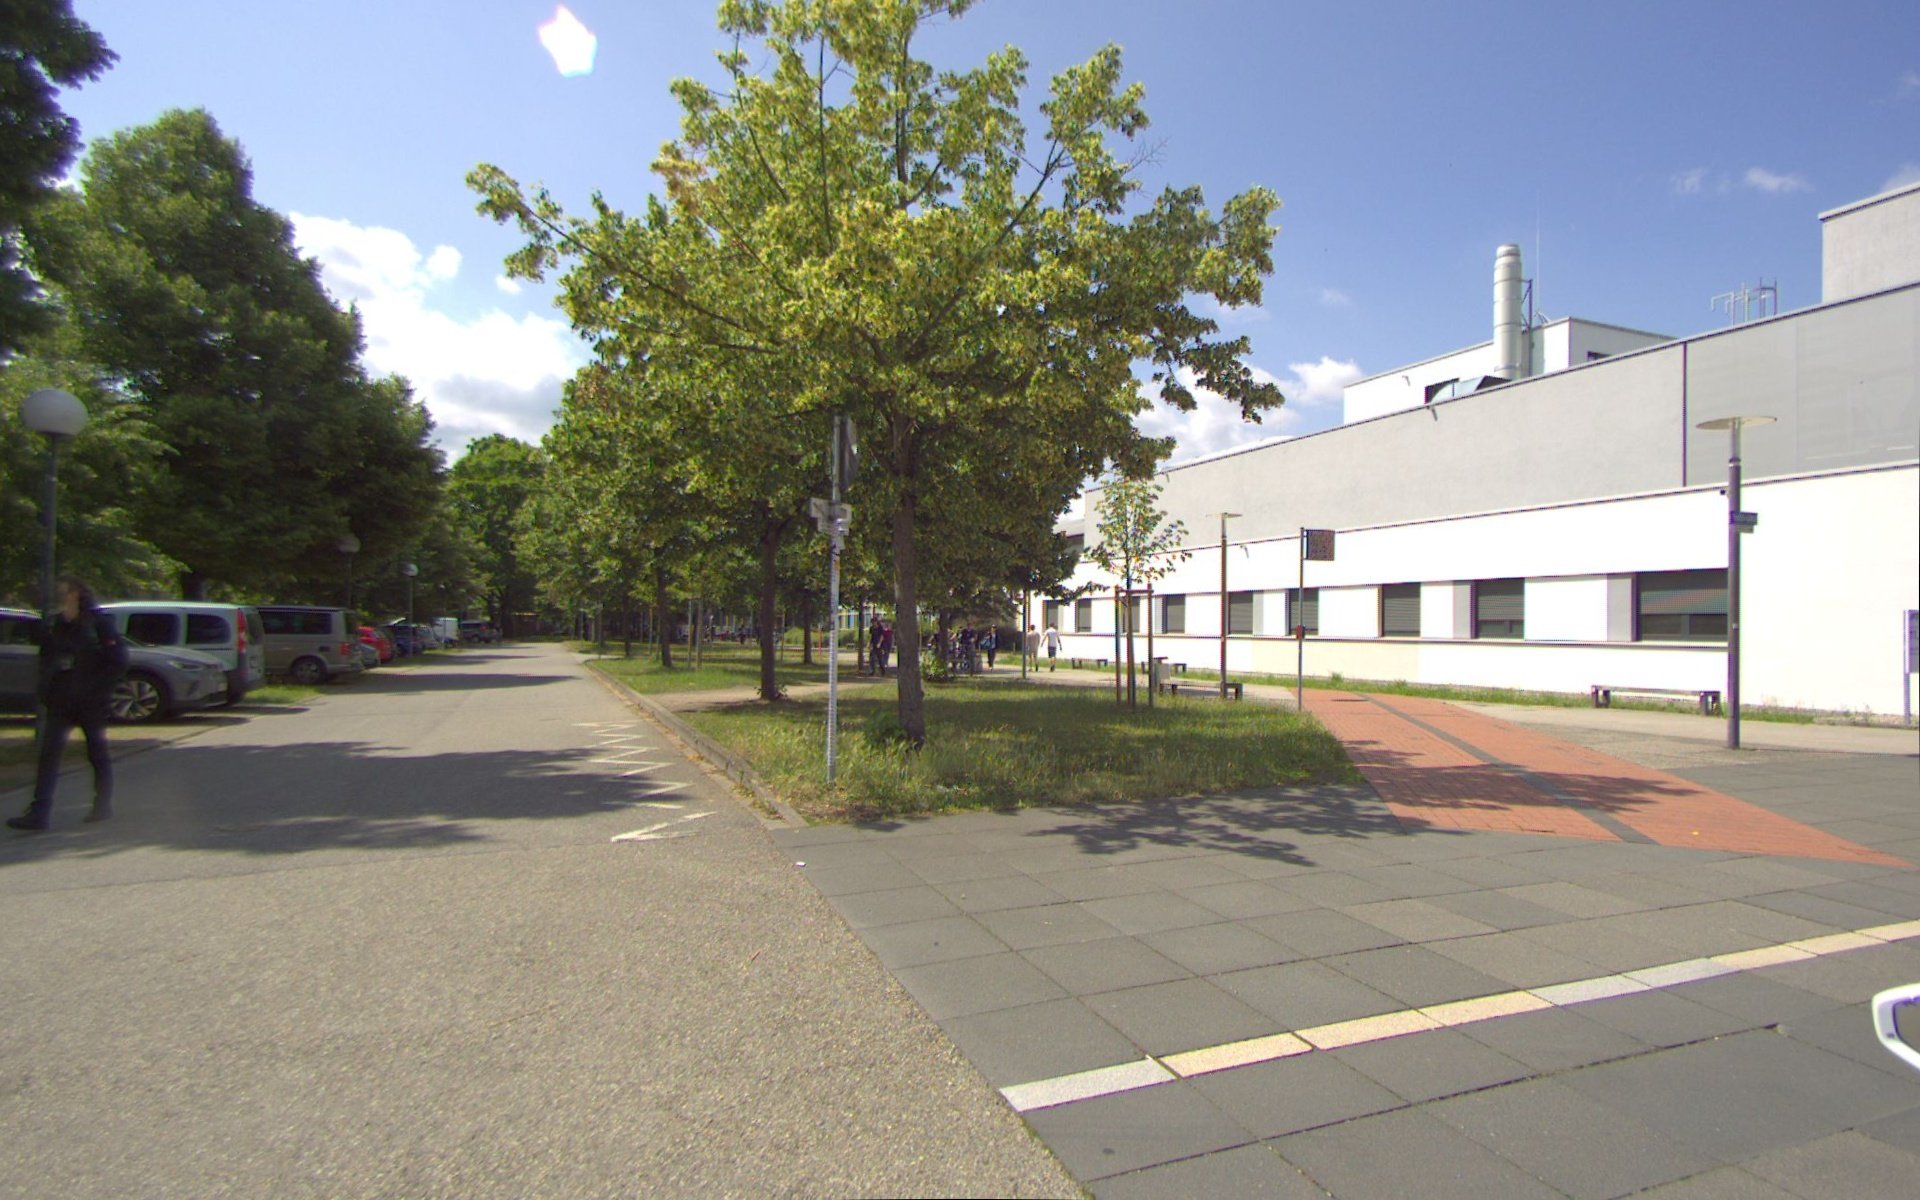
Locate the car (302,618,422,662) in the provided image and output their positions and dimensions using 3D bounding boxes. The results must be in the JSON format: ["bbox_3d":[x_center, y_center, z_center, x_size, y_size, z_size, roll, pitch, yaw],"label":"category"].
[{"bbox_3d":[-25.110,1.678,42.329,4.067,1.689,1.803,3,-2,-23],"label":"car"}]

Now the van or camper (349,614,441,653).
[{"bbox_3d":[-30.364,1.811,54.106,4.026,1.910,1.803,3,-2,-23],"label":"van or camper"}]

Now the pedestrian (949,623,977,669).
[{"bbox_3d":[0.123,1.734,37.997,0.740,1.720,0.881,1,-1,-27],"label":"pedestrian"}]

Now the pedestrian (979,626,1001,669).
[{"bbox_3d":[1.169,1.853,39.352,0.785,1.676,0.731,1,-1,-6],"label":"pedestrian"}]

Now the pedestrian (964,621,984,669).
[{"bbox_3d":[0.544,1.759,39.637,0.672,1.863,0.761,1,-1,-6],"label":"pedestrian"}]

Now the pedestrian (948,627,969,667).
[{"bbox_3d":[-0.069,1.937,41.402,0.685,1.602,0.852,1,-1,-15],"label":"pedestrian"}]

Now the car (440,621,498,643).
[{"bbox_3d":[-39.495,2.557,80.878,4.067,1.615,1.803,3,-2,-23],"label":"car"}]

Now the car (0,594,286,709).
[{"bbox_3d":[-14.224,0.897,17.225,4.067,1.809,1.803,3,-2,-23],"label":"car"}]

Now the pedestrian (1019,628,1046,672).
[{"bbox_3d":[2.666,1.816,36.908,0.746,1.583,0.728,1,-1,-19],"label":"pedestrian"}]

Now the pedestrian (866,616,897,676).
[{"bbox_3d":[-2.392,1.393,30.621,0.623,1.810,0.873,0,-1,20],"label":"pedestrian"}]

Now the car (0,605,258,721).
[{"bbox_3d":[-13.392,0.898,14.825,4.585,1.601,1.890,3,-2,-23],"label":"car"}]

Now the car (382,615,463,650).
[{"bbox_3d":[-32.251,1.951,60.431,4.067,1.969,1.803,3,-2,-23],"label":"car"}]

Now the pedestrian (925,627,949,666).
[{"bbox_3d":[-0.964,1.909,41.364,0.737,1.602,0.851,1,-1,-22],"label":"pedestrian"}]

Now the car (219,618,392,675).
[{"bbox_3d":[-19.630,1.401,30.349,4.067,1.562,1.803,3,-2,-23],"label":"car"}]

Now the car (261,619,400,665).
[{"bbox_3d":[-23.536,1.588,37.748,4.062,1.562,1.805,3,-2,-20],"label":"car"}]

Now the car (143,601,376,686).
[{"bbox_3d":[-17.679,1.123,25.614,4.458,1.985,1.805,3,-2,-20],"label":"car"}]

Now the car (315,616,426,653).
[{"bbox_3d":[-26.675,1.575,45.612,4.067,1.562,1.803,3,-2,-23],"label":"car"}]

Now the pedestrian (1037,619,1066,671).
[{"bbox_3d":[3.409,1.681,37.388,0.812,1.908,0.760,1,-1,-19],"label":"pedestrian"}]

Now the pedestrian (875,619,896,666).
[{"bbox_3d":[-3.103,1.765,41.993,0.840,1.916,0.667,1,-1,-6],"label":"pedestrian"}]

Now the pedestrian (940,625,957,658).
[{"bbox_3d":[-0.583,2.131,51.712,0.715,1.716,0.555,1,-1,-23],"label":"pedestrian"}]

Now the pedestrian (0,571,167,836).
[{"bbox_3d":[-6.392,0.719,7.341,0.558,1.810,0.871,0,-1,-10],"label":"pedestrian"}]
